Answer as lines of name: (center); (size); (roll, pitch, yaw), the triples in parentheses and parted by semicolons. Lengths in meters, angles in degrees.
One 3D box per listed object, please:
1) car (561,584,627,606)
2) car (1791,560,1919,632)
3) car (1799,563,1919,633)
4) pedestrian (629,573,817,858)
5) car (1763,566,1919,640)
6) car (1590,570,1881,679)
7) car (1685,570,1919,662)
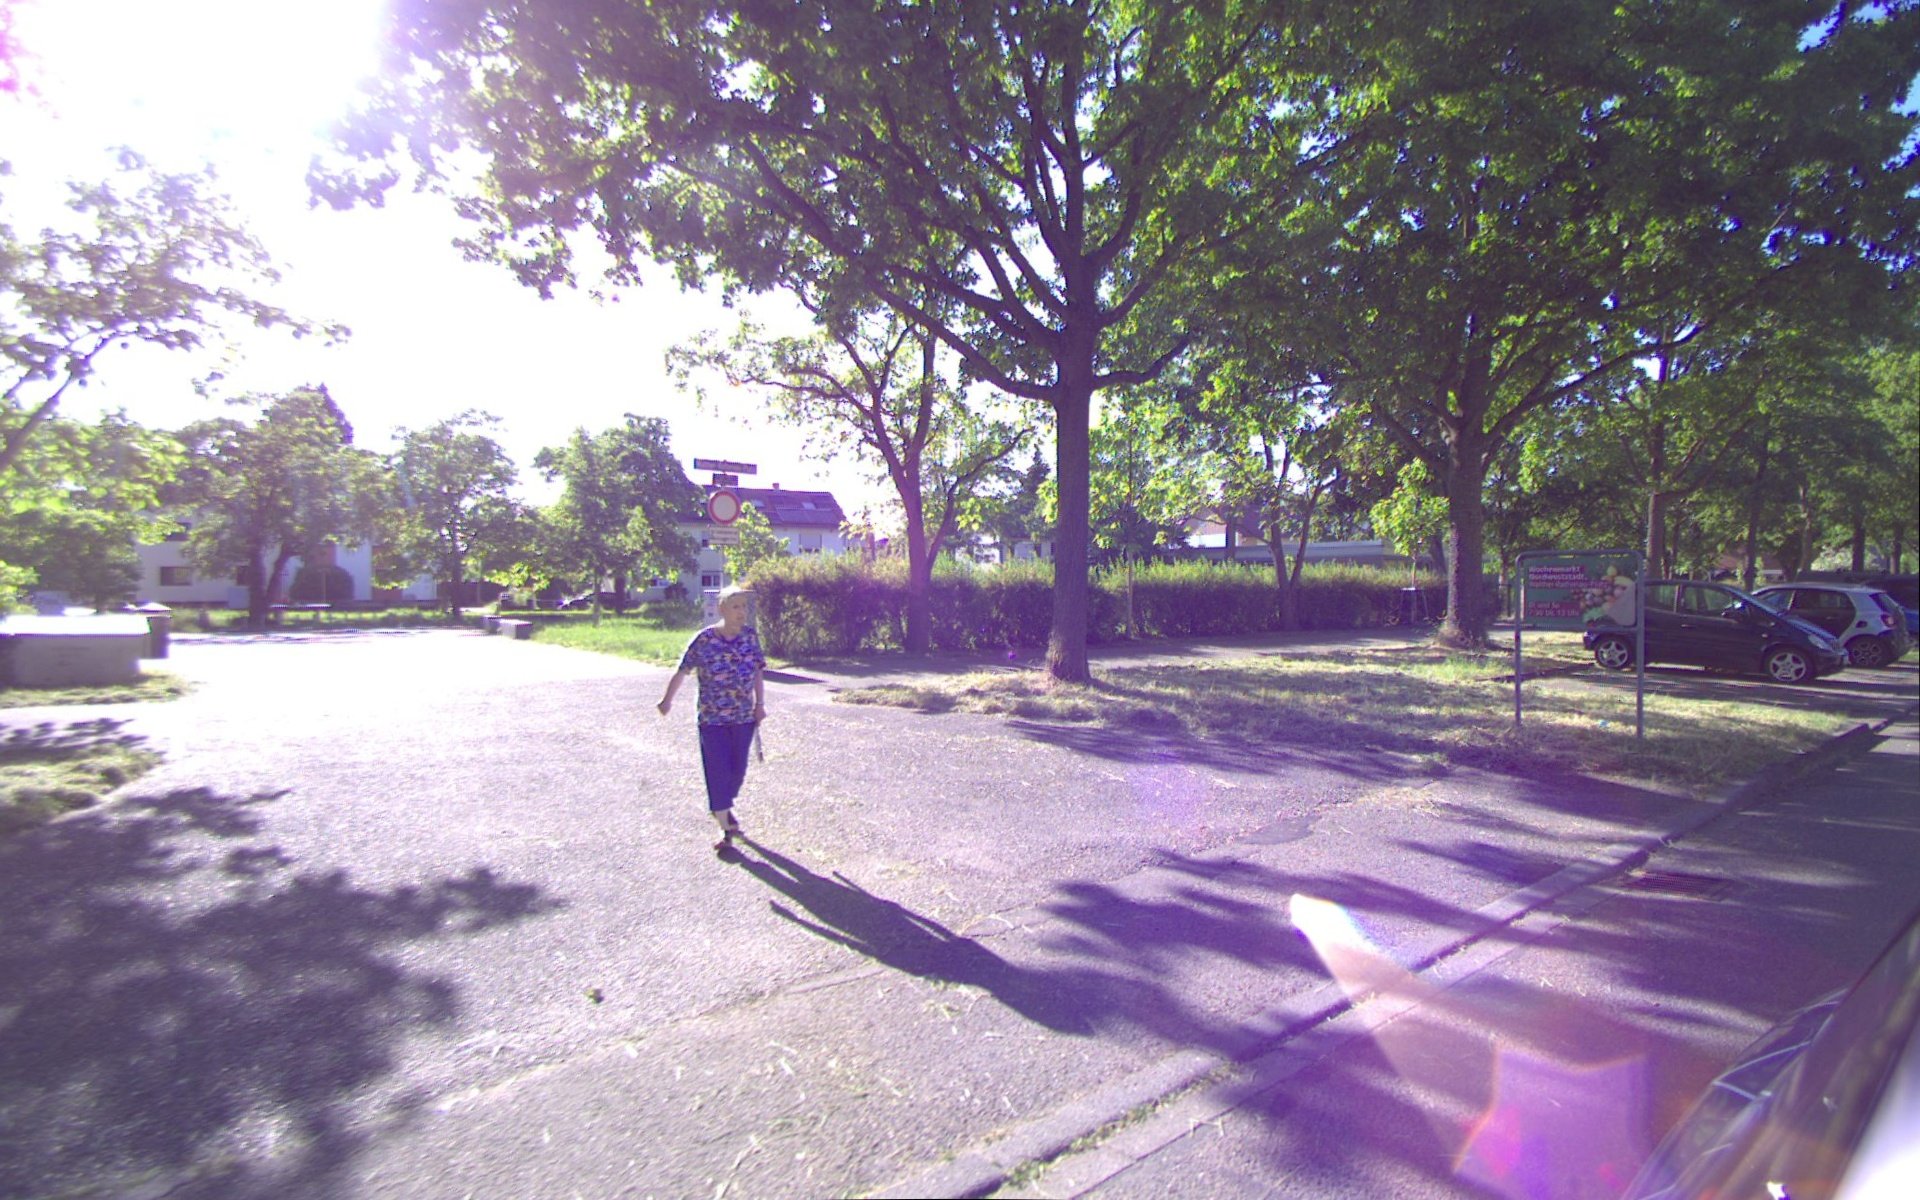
car: (-23.933, -0.314, 66.286); (3.916, 1.397, 1.666); (-1, 1, -13)
car: (27.707, -0.139, 29.738); (1.910, 2.057, 4.812); (-1, 2, -40)
car: (26.018, -0.075, 28.074); (1.769, 1.859, 4.014); (-1, 3, -43)
pedestrian: (-1.433, 0.608, 6.034); (0.867, 1.518, 0.945); (0, 1, -28)
car: (20.509, 0.033, 22.771); (1.635, 1.551, 3.530); (-1, 3, -38)
car: (12.972, 0.308, 17.076); (1.825, 1.596, 3.590); (-1, 3, -41)
car: (16.796, 0.228, 20.056); (1.754, 1.596, 3.593); (-1, 3, -38)
